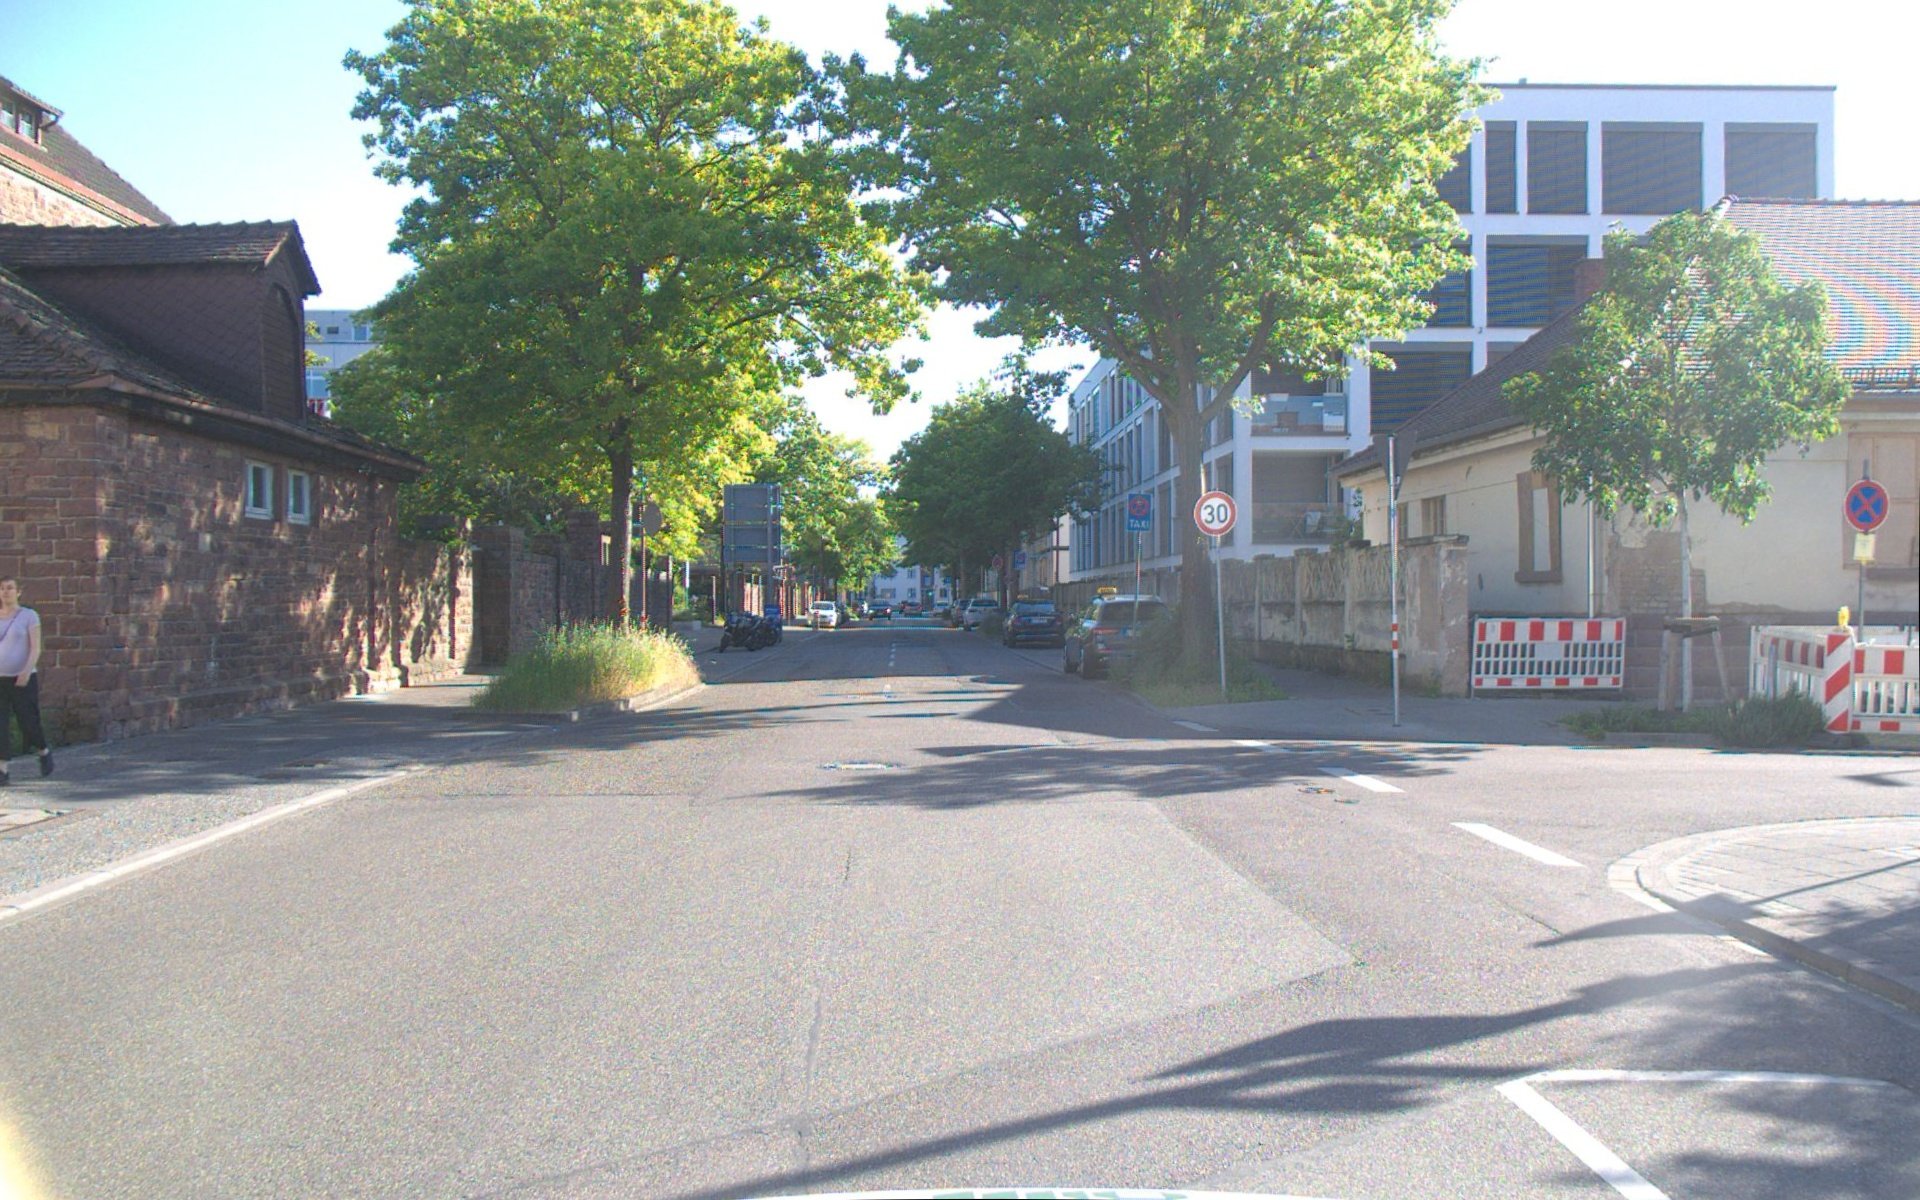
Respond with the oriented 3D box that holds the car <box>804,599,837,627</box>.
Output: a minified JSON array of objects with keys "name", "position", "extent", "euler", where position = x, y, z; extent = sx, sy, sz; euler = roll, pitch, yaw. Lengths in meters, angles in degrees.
[{"name":"car","position":[-7.816,0.706,92.992],"extent":[1.732,1.513,3.997],"euler":[-1,0,-3]}]

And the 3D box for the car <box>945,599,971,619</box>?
[{"name":"car","position":[-0.165,0.684,128.416],"extent":[1.953,1.450,3.835],"euler":[0,0,-1]}]

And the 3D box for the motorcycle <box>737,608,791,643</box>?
[{"name":"motorcycle","position":[-6.272,0.813,53.041],"extent":[0.565,1.093,2.117],"euler":[0,0,31]}]

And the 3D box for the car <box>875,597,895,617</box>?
[{"name":"car","position":[-6.002,0.524,132.707],"extent":[1.620,1.557,3.998],"euler":[0,0,-2]}]

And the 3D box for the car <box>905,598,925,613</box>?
[{"name":"car","position":[-4.241,0.529,156.363],"extent":[1.851,1.424,3.835],"euler":[-1,0,-1]}]

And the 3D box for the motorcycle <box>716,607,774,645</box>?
[{"name":"motorcycle","position":[-6.484,0.777,50.031],"extent":[0.565,1.093,2.117],"euler":[0,0,31]}]

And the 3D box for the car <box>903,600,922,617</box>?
[{"name":"car","position":[-4.509,0.765,156.156],"extent":[1.732,1.575,4.063],"euler":[-1,0,-3]}]

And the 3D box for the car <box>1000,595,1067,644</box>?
[{"name":"car","position":[2.289,0.587,52.522],"extent":[1.732,1.465,3.997],"euler":[-1,0,-3]}]

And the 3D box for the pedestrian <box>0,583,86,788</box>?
[{"name":"pedestrian","position":[-7.581,0.659,13.347],"extent":[0.511,1.590,1.095],"euler":[0,0,-3]}]

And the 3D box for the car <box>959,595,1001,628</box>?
[{"name":"car","position":[0.963,0.549,81.173],"extent":[1.911,1.606,3.835],"euler":[0,0,-1]}]

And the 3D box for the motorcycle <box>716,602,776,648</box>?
[{"name":"motorcycle","position":[-6.291,0.731,48.690],"extent":[0.565,1.298,2.117],"euler":[0,0,31]}]

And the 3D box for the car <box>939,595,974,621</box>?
[{"name":"car","position":[-0.242,0.450,96.984],"extent":[1.953,1.491,3.835],"euler":[0,0,-1]}]

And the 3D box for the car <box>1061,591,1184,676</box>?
[{"name":"car","position":[2.987,0.583,31.298],"extent":[1.669,1.494,4.786],"euler":[0,0,-2]}]

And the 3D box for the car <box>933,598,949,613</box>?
[{"name":"car","position":[-1.865,0.510,162.288],"extent":[1.553,1.424,3.835],"euler":[0,0,-1]}]
